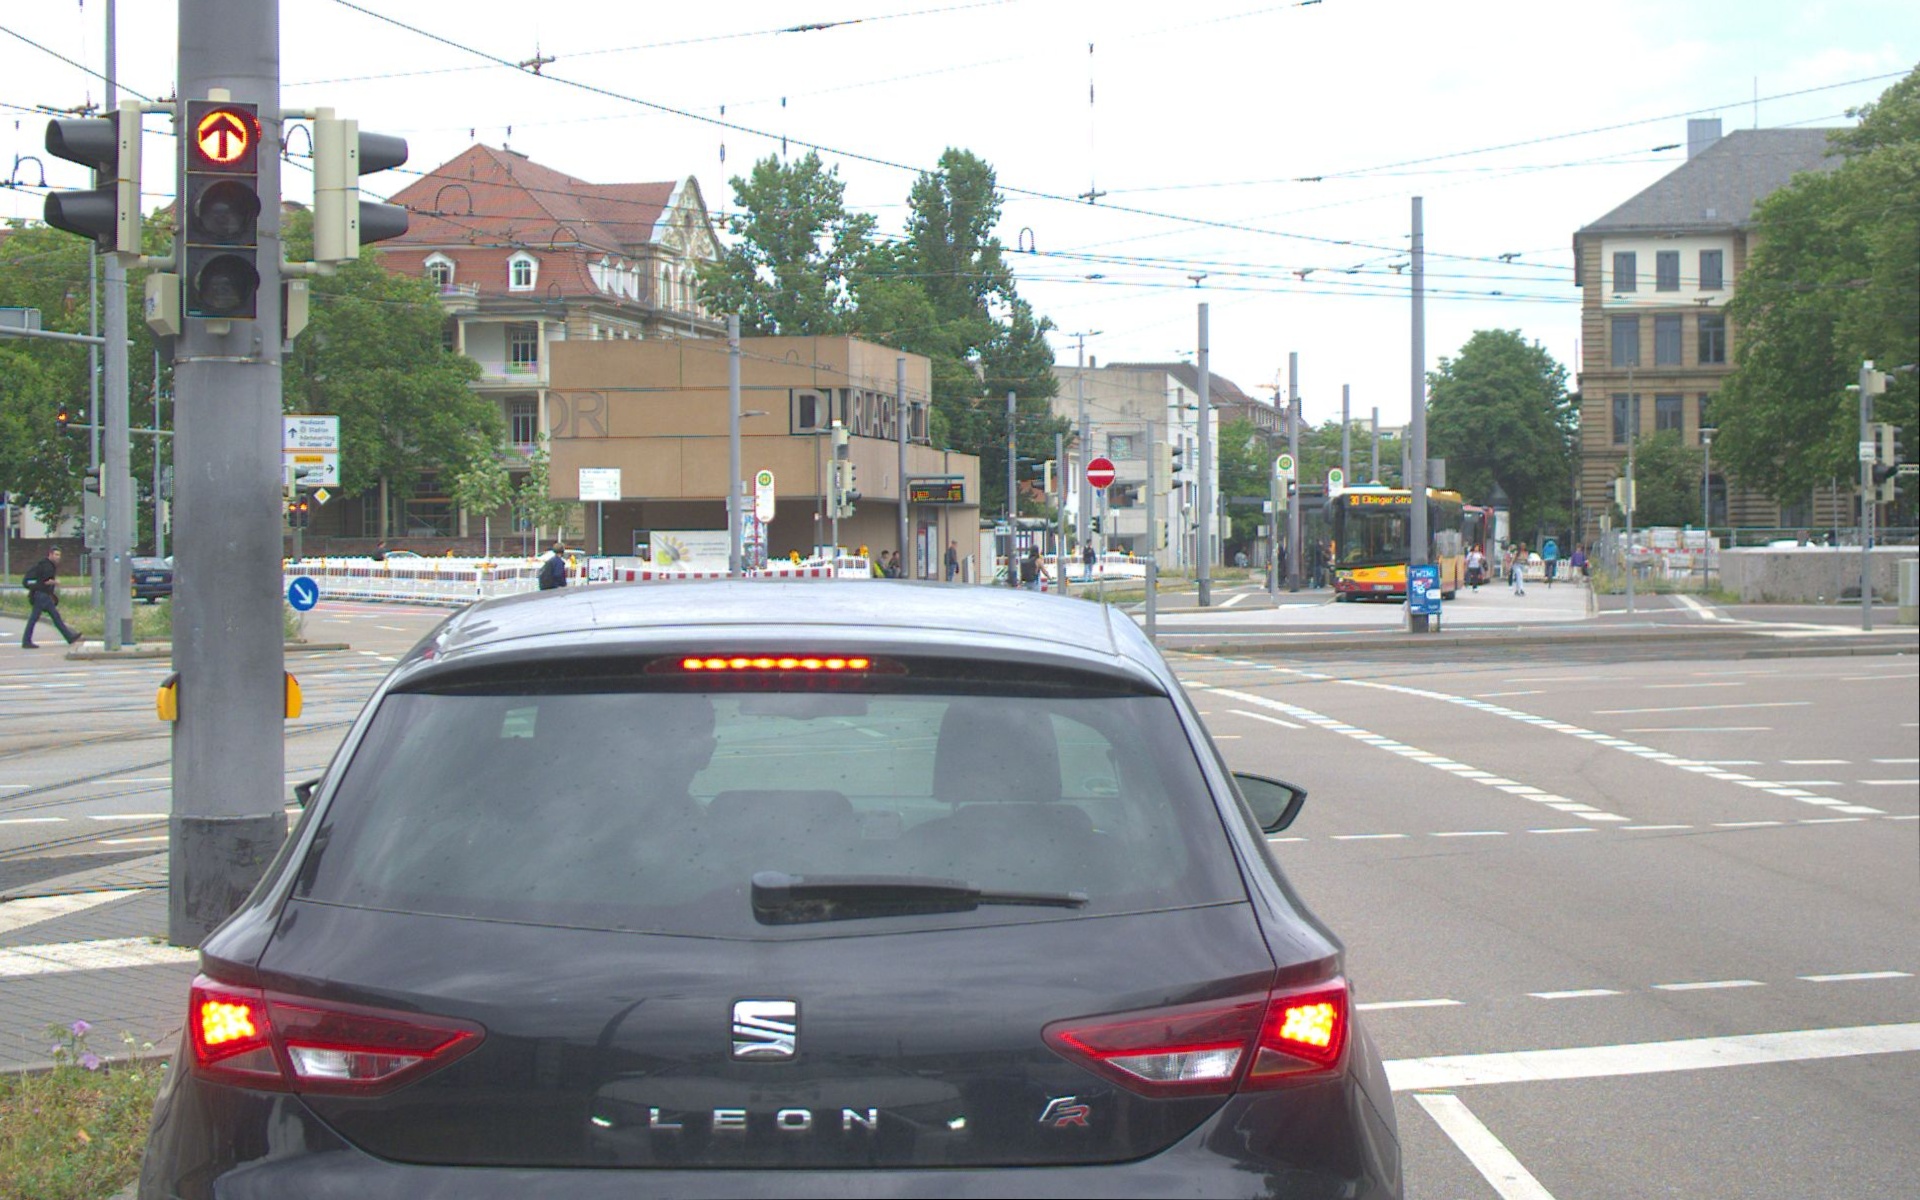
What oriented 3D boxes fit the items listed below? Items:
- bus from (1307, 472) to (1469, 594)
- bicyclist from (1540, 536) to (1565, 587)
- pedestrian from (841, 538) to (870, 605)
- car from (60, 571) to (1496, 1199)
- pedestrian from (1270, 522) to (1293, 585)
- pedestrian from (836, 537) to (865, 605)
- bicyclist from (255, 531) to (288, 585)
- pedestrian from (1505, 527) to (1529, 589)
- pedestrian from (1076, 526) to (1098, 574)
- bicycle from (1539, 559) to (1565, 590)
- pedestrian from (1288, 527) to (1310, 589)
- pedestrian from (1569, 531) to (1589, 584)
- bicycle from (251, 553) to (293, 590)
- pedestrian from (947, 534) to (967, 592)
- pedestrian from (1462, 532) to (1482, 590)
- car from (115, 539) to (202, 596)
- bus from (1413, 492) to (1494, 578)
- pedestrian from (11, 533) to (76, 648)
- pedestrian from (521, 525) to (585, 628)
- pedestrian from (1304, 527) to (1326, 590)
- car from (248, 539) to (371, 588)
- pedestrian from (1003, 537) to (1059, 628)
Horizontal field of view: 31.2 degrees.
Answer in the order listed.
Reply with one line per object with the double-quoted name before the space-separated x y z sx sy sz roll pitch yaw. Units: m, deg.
"bus" 11.760 -1.804 93.451 2.962 3.112 11.531 0 1 14
"bicyclist" 21.701 -1.406 125.913 0.872 1.845 1.047 0 1 12
"pedestrian" -2.955 -0.810 97.371 0.708 1.911 0.623 0 1 7
"car" -0.351 0.690 5.993 1.704 1.444 3.813 0 1 -4
"pedestrian" 9.741 -1.411 104.119 0.621 1.911 0.698 0 1 9
"pedestrian" -3.077 -0.812 96.575 0.708 1.911 0.623 0 1 7
"bicyclist" -21.933 -1.341 109.571 0.882 1.726 0.894 0 1 -22
"pedestrian" 16.958 -1.290 104.620 0.596 1.878 0.531 0 1 26
"pedestrian" 5.074 -2.010 137.490 0.622 1.911 0.709 -1 0 25
"bicycle" 21.657 -0.952 125.758 0.866 1.101 2.301 0 1 12
"pedestrian" 10.399 -1.294 105.578 0.621 1.911 0.710 0 1 3
"pedestrian" 23.699 -1.631 131.606 0.662 2.007 0.692 0 1 0
"bicycle" -21.945 -0.915 109.597 0.891 1.174 2.302 0 1 -22
"pedestrian" -0.089 -1.218 114.006 0.621 1.911 0.710 0 1 3
"pedestrian" 16.561 -1.262 111.195 0.530 1.878 0.597 0 1 -1
"car" -24.445 -0.973 104.761 1.993 1.678 4.001 0 0 -22
"bus" 19.667 -2.564 136.661 2.655 3.272 10.990 0 1 11
"pedestrian" -16.133 -0.175 60.510 1.020 2.007 0.846 -1 1 -20
"pedestrian" -7.724 -0.449 65.245 1.027 1.927 0.701 -1 1 -25
"pedestrian" 10.804 -1.256 104.655 0.621 1.911 0.698 0 1 9
"car" -23.266 -1.292 123.030 3.987 1.678 2.000 -1 0 1
"pedestrian" 1.523 -0.390 73.550 0.700 1.927 1.028 0 1 38
